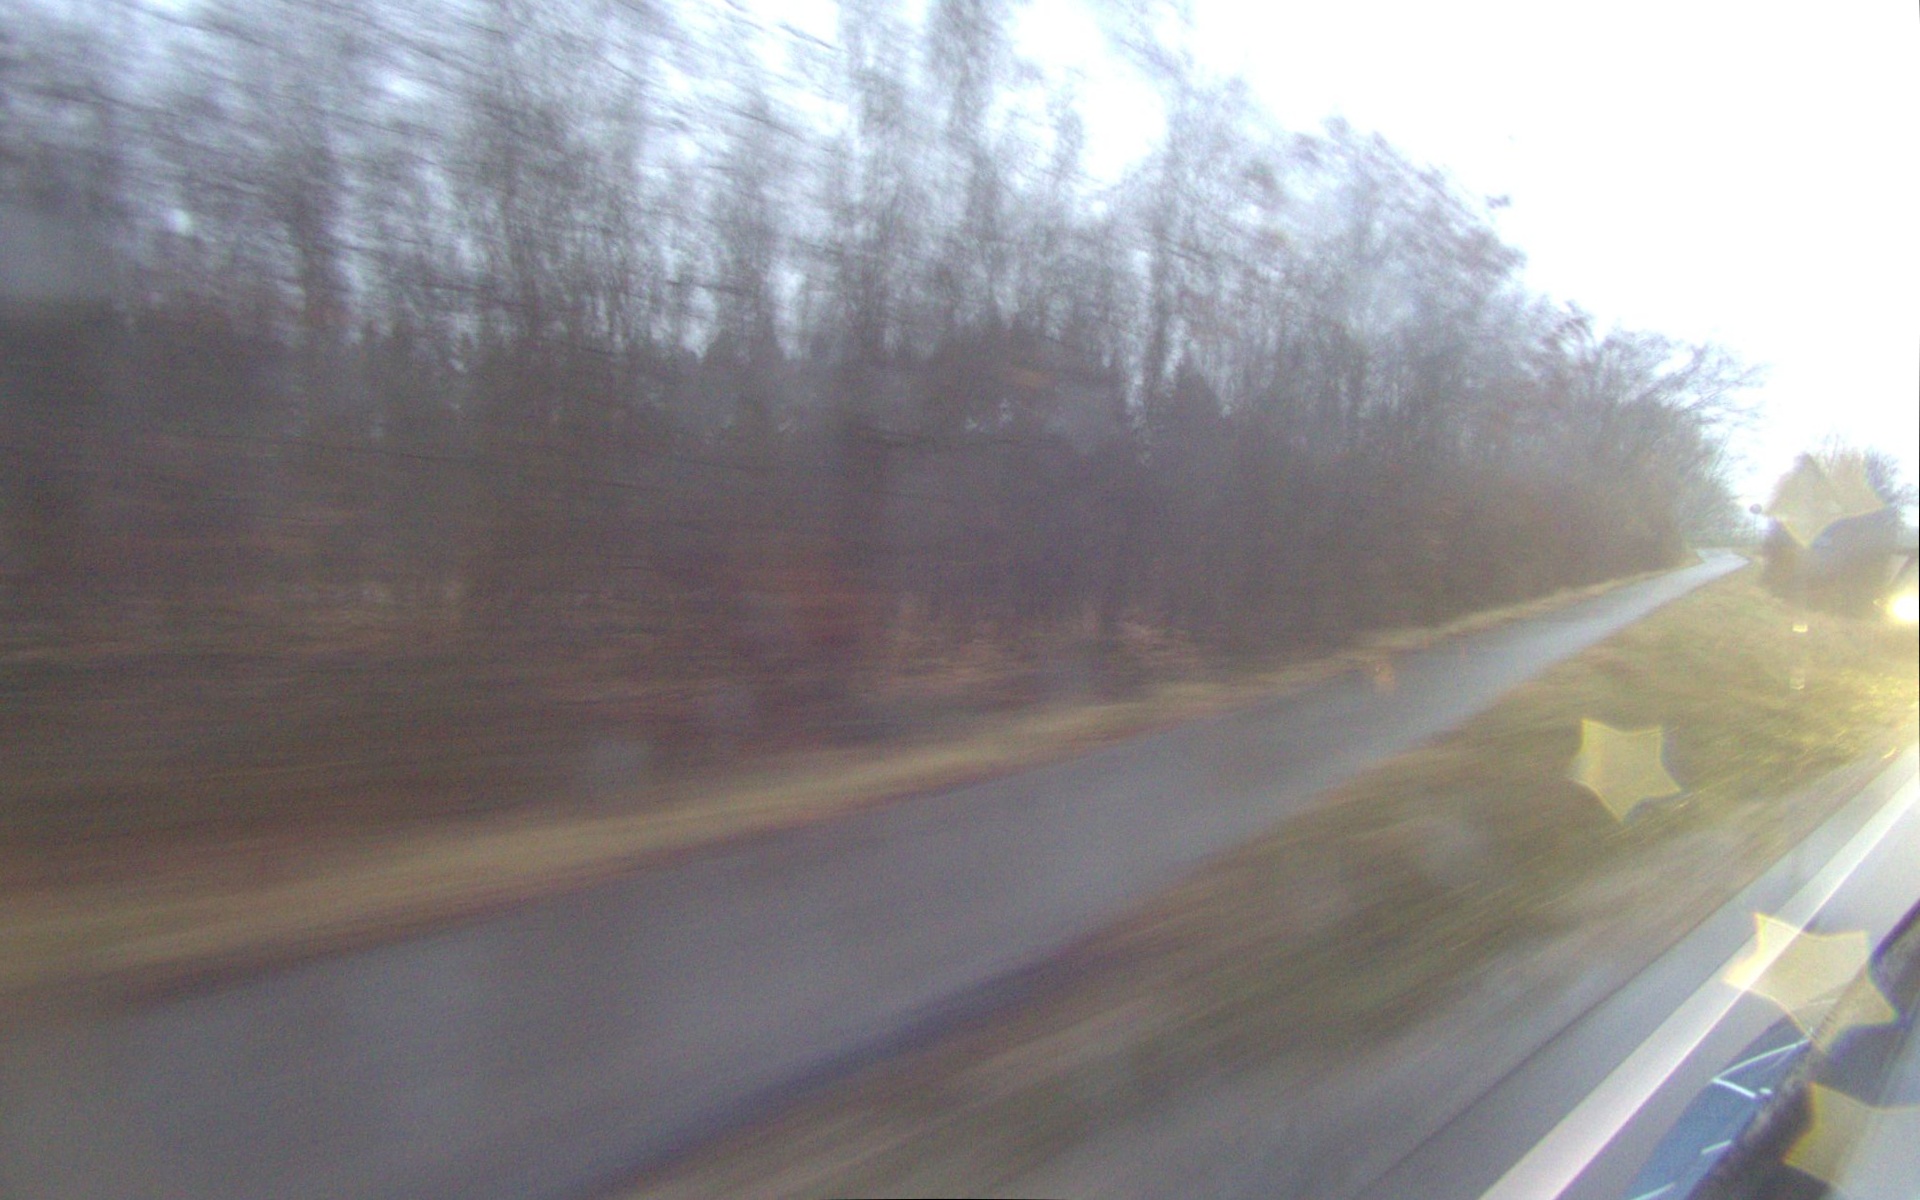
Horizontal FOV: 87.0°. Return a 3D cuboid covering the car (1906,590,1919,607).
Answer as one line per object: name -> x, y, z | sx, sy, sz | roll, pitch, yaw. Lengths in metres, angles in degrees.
car -> 108.186, -0.142, 114.323 | 1.695, 1.752, 3.942 | 0, 2, 41
